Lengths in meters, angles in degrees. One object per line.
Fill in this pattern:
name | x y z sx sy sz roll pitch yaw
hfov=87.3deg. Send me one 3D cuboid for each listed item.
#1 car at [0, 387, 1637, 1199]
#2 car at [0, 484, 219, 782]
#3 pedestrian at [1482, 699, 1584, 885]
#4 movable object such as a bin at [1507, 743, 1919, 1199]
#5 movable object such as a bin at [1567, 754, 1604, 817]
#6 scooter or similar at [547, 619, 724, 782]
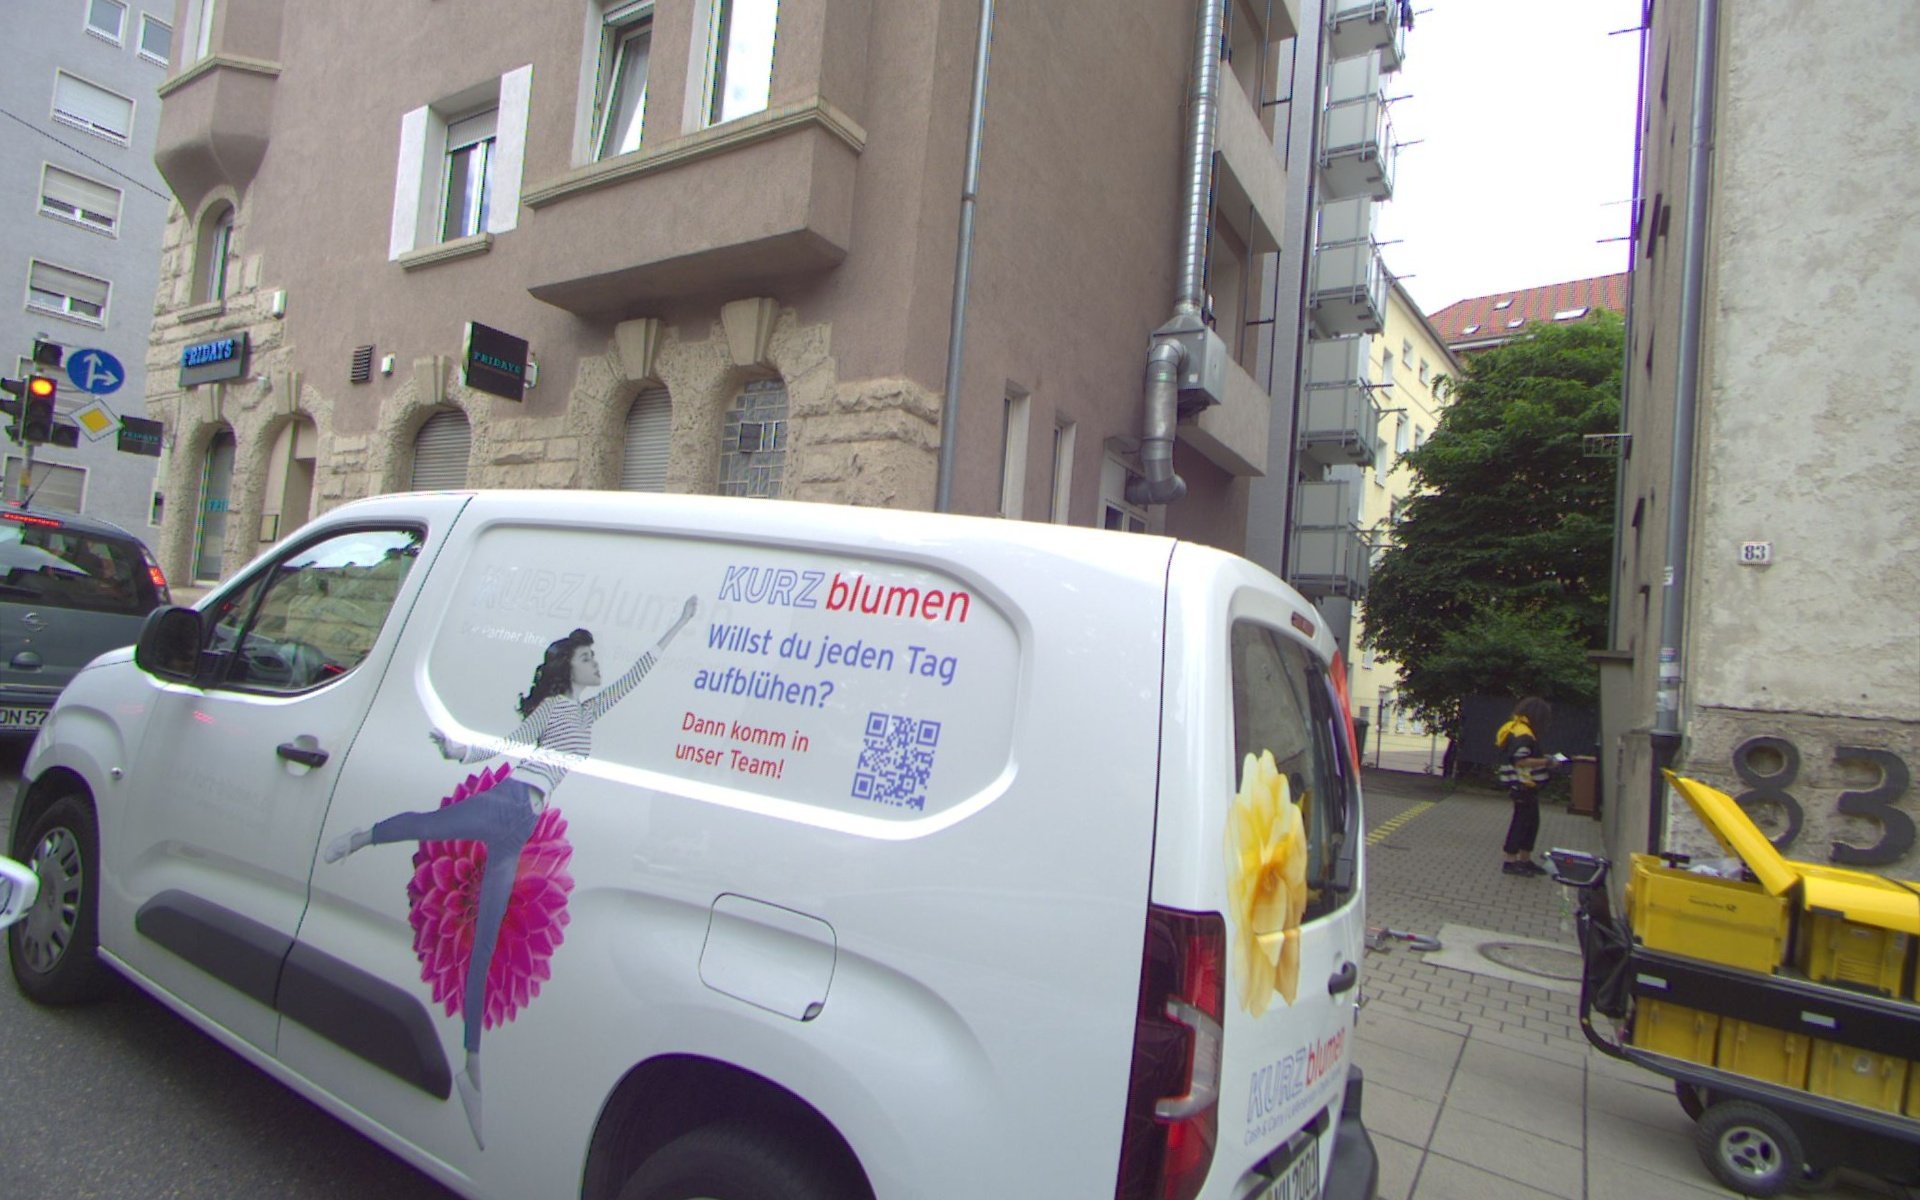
car | -0.862 0.581 3.111 4.597 1.793 1.983 6 -5 30
car | -6.710 0.041 6.535 3.608 1.614 1.634 6 -5 32
pedestrian | 5.564 1.820 9.809 0.770 1.665 0.811 1 -3 24
movable object such as a bin | 3.373 1.448 3.992 1.979 1.391 1.223 6 -1 30
movable object such as a bin | 9.931 2.938 15.988 0.405 0.922 0.340 6 -1 32
scooter or similar | -2.696 0.805 8.310 1.400 1.117 0.527 6 -1 34
